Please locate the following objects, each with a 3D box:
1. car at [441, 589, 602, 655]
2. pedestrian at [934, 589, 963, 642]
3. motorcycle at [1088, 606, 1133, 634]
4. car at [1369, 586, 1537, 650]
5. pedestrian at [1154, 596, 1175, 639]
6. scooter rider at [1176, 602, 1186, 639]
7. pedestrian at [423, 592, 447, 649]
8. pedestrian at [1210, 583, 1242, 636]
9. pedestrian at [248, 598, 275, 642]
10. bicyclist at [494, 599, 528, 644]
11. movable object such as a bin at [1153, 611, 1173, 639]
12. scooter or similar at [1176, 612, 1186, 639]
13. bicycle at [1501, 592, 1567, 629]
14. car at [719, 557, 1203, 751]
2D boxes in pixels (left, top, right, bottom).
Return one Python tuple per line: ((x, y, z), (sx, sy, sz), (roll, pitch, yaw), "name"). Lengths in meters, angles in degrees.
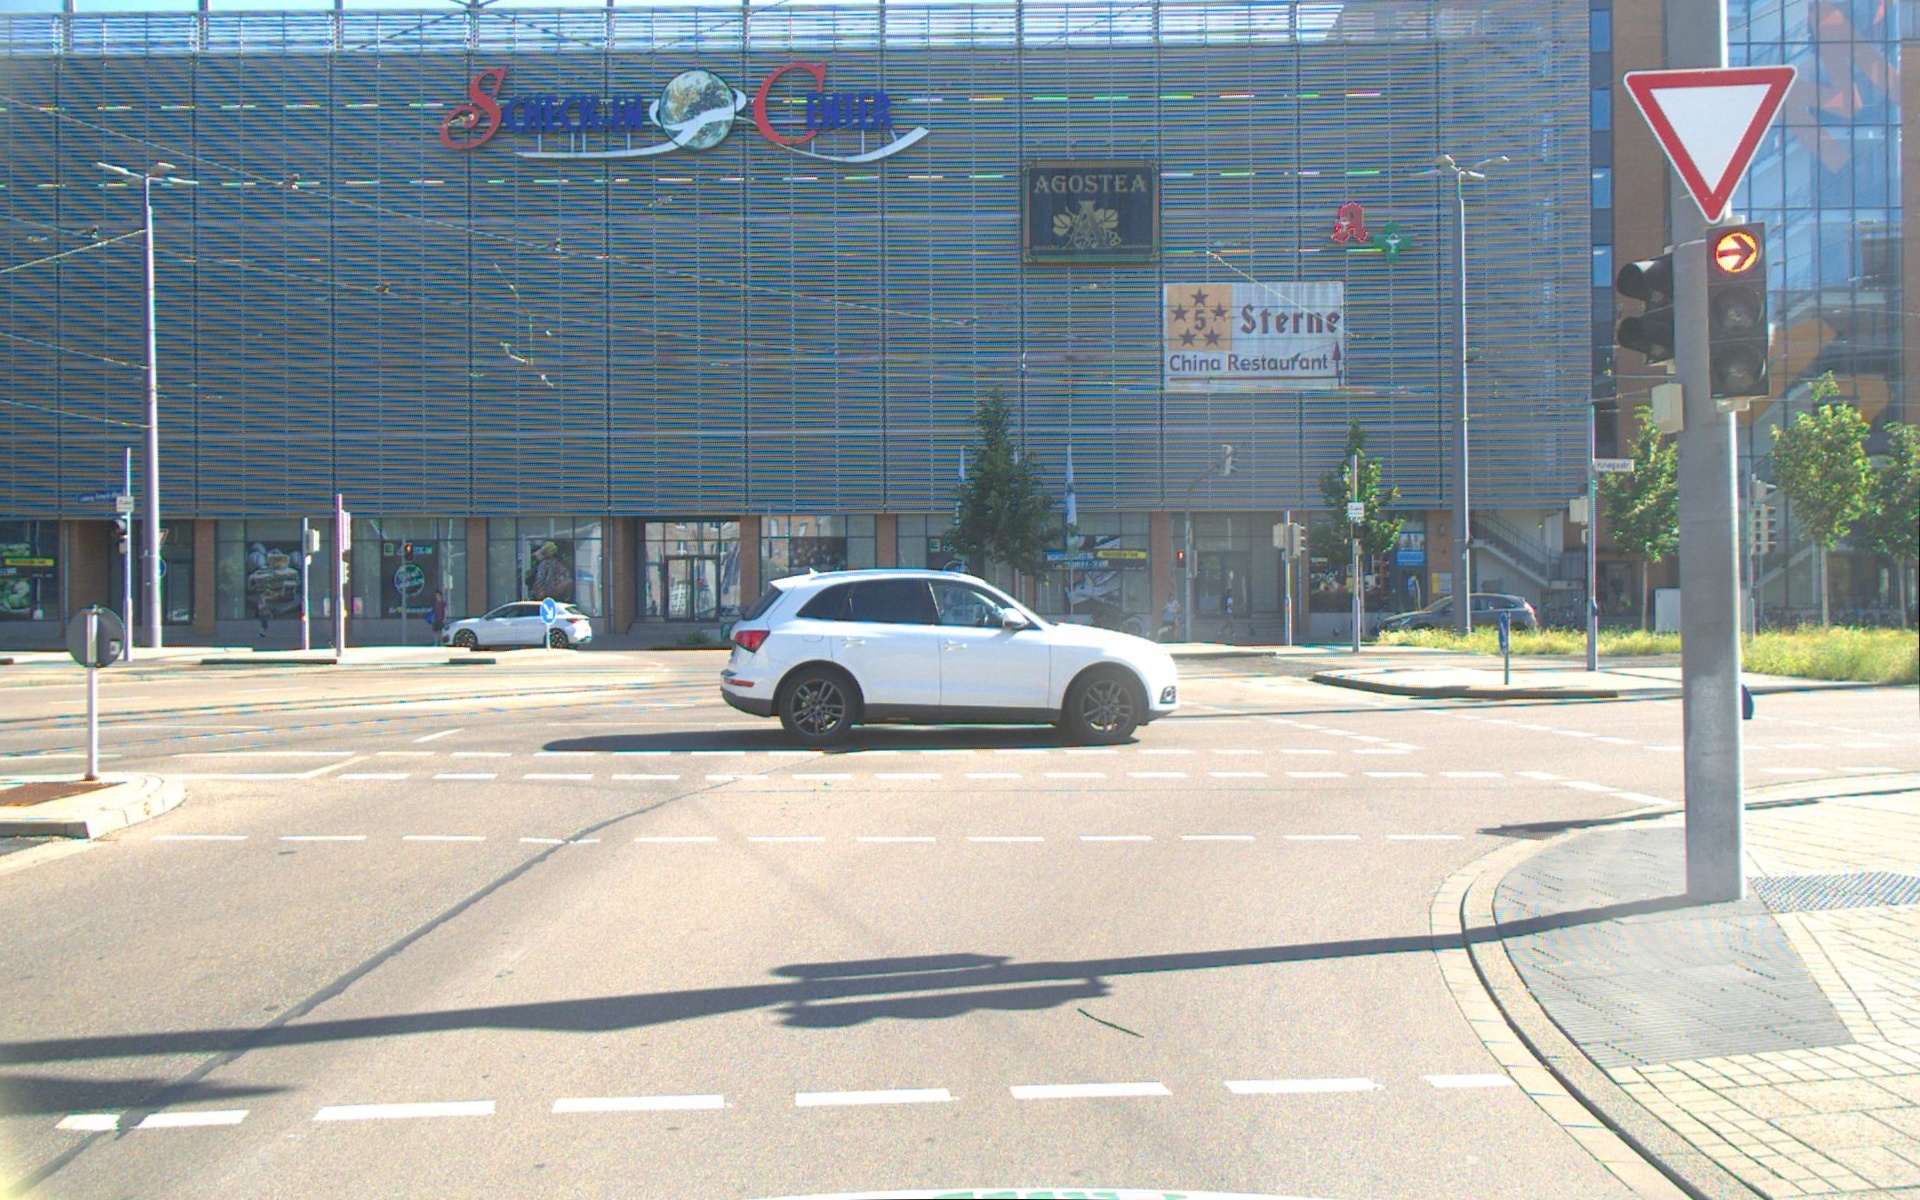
((-12.935, 0.654, 48.993), (4.203, 1.673, 1.840), (3, -1, -2), "car")
((-0.427, 0.560, 59.701), (0.930, 1.860, 0.846), (-2, -4, 5), "pedestrian")
((5.530, 0.730, 60.703), (1.605, 1.022, 0.447), (1, 0, 6), "motorcycle")
((13.671, 0.498, 46.042), (4.063, 1.495, 1.840), (3, -1, -2), "car")
((6.858, 0.580, 55.359), (0.641, 1.438, 0.850), (1, 0, 10), "pedestrian")
((7.361, 0.669, 55.126), (0.282, 1.221, 0.386), (1, -1, 10), "scooter rider")
((-17.337, 0.666, 54.664), (0.683, 1.829, 0.727), (-2, 0, -17), "pedestrian")
((9.559, 0.326, 59.465), (0.991, 1.860, 1.036), (-2, 0, 3), "pedestrian")
((-26.024, 0.747, 61.612), (0.646, 1.629, 0.594), (1, -1, 18), "pedestrian")
((-14.798, 0.693, 54.540), (0.663, 1.452, 0.844), (0, 2, 42), "bicyclist")
((6.742, 0.834, 54.893), (0.599, 0.920, 0.970), (1, 0, 10), "movable object such as a bin")
((7.367, 0.836, 55.186), (0.288, 0.888, 1.004), (1, 0, 10), "scooter or similar")
((21.290, 0.392, 61.348), (2.209, 1.318, 0.605), (1, -1, -2), "bicycle")
((-0.070, 0.485, 16.512), (4.581, 1.737, 1.934), (-1, 0, -8), "car")
